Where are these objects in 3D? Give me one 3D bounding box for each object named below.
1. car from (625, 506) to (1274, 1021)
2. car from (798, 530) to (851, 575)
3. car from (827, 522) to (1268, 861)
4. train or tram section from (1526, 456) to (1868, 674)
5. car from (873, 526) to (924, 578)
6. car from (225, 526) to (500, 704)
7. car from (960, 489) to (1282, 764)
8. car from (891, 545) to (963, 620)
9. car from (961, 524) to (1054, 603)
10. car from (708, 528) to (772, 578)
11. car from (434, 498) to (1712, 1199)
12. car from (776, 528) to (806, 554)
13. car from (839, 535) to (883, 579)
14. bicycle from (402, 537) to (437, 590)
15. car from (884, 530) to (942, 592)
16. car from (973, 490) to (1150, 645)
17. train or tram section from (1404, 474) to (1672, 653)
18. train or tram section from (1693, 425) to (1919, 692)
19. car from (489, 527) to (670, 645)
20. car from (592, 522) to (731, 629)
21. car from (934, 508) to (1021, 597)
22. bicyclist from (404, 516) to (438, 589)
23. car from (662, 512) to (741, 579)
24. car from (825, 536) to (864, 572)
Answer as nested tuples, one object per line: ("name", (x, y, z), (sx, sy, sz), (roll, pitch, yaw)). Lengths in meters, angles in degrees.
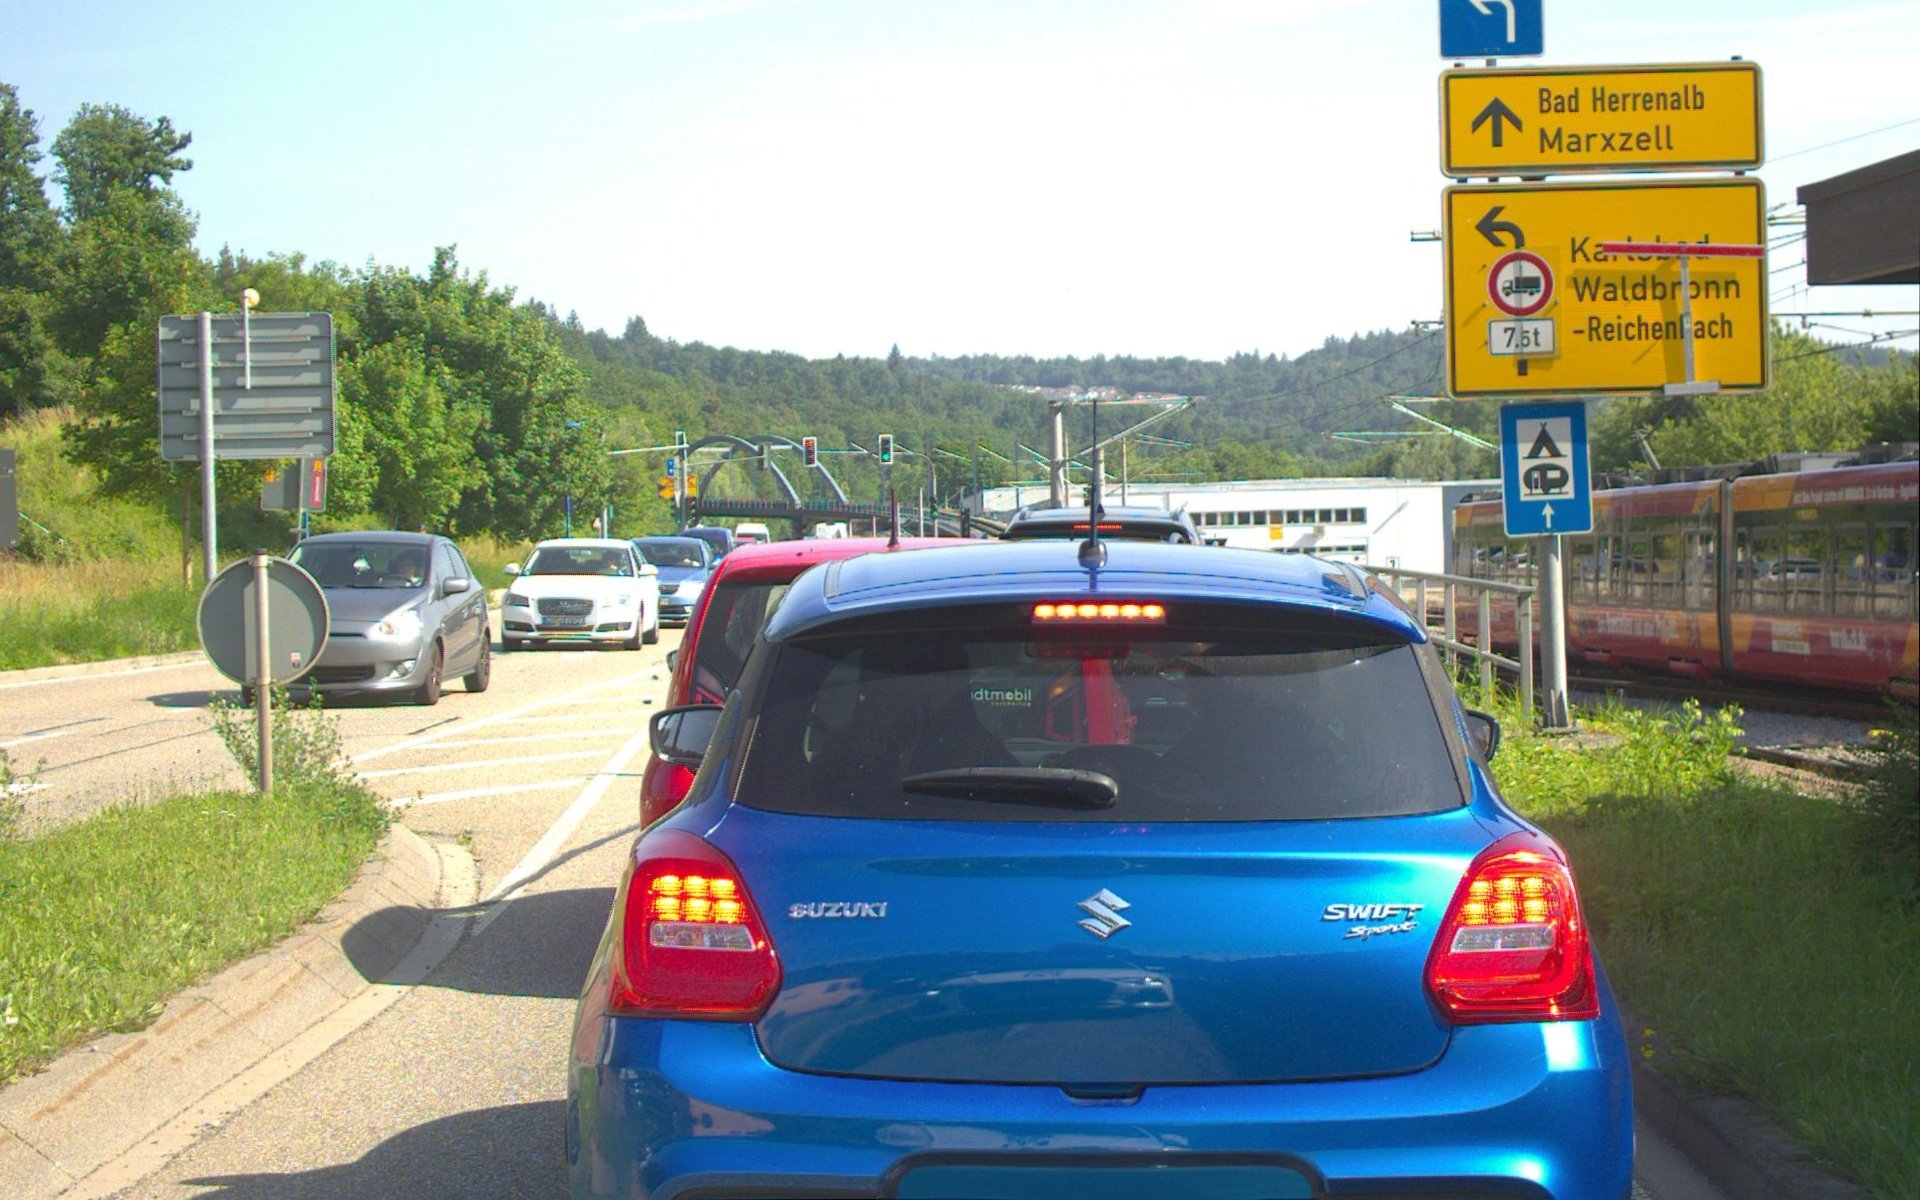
("car", (-0.002, 0.477, 12.714), (1.993, 1.566, 4.000), (1, 1, 1))
("car", (-5.507, -1.945, 140.085), (1.993, 1.777, 4.000), (1, 1, -1))
("car", (0.438, 0.365, 17.982), (1.993, 1.526, 4.602), (-1, 1, 1))
("train or tram section", (12.556, -0.629, 59.967), (2.786, 3.353, 12.049), (1, 1, -3))
("car", (-2.534, -2.003, 142.541), (1.993, 2.006, 4.001), (2, 2, -1))
("car", (-5.128, 0.088, 29.945), (1.672, 1.436, 3.840), (1, 1, 1))
("car", (1.056, 0.114, 24.064), (1.993, 1.681, 4.497), (2, 1, 1))
("car", (-0.974, -0.530, 101.220), (1.993, 2.006, 4.001), (2, 2, -1))
("car", (0.995, -0.776, 71.120), (1.832, 1.488, 3.811), (2, 2, 1))
("car", (-7.026, -1.516, 110.127), (1.832, 1.426, 3.811), (2, 2, -1))
("car", (0.120, 0.584, 7.045), (1.868, 1.543, 4.000), (0, 1, -1))
("car", (-12.254, -4.318, 249.722), (1.993, 1.733, 4.001), (2, 2, -1))
("car", (-4.821, -2.108, 167.933), (1.993, 2.006, 4.001), (2, 2, -1))
("bicycle", (-11.405, -0.778, 72.591), (0.566, 1.039, 1.552), (2, 2, -3))
("car", (-1.659, -1.405, 121.977), (1.993, 2.006, 4.001), (2, 2, -1))
("car", (1.210, -0.421, 41.705), (1.993, 1.730, 4.000), (2, 1, 1))
("train or tram section", (11.851, -0.877, 71.830), (2.755, 3.352, 12.050), (1, 2, -4))
("train or tram section", (13.308, -0.585, 47.001), (2.855, 3.353, 14.356), (0, 1, -3))
("car", (-4.889, -0.216, 44.620), (1.832, 1.364, 3.950), (1, 2, 1))
("car", (-4.815, -0.426, 55.857), (1.832, 1.463, 3.811), (2, 3, 1))
("car", (0.398, -1.191, 83.925), (1.993, 2.006, 4.001), (2, 2, -1))
("bicyclist", (-11.381, -1.000, 72.561), (0.629, 1.502, 0.506), (2, 2, -3))
("car", (-7.180, -1.540, 95.800), (1.832, 1.707, 3.811), (2, 2, 1))
("car", (-6.386, -2.563, 190.257), (1.993, 1.810, 4.001), (2, 2, -1))
